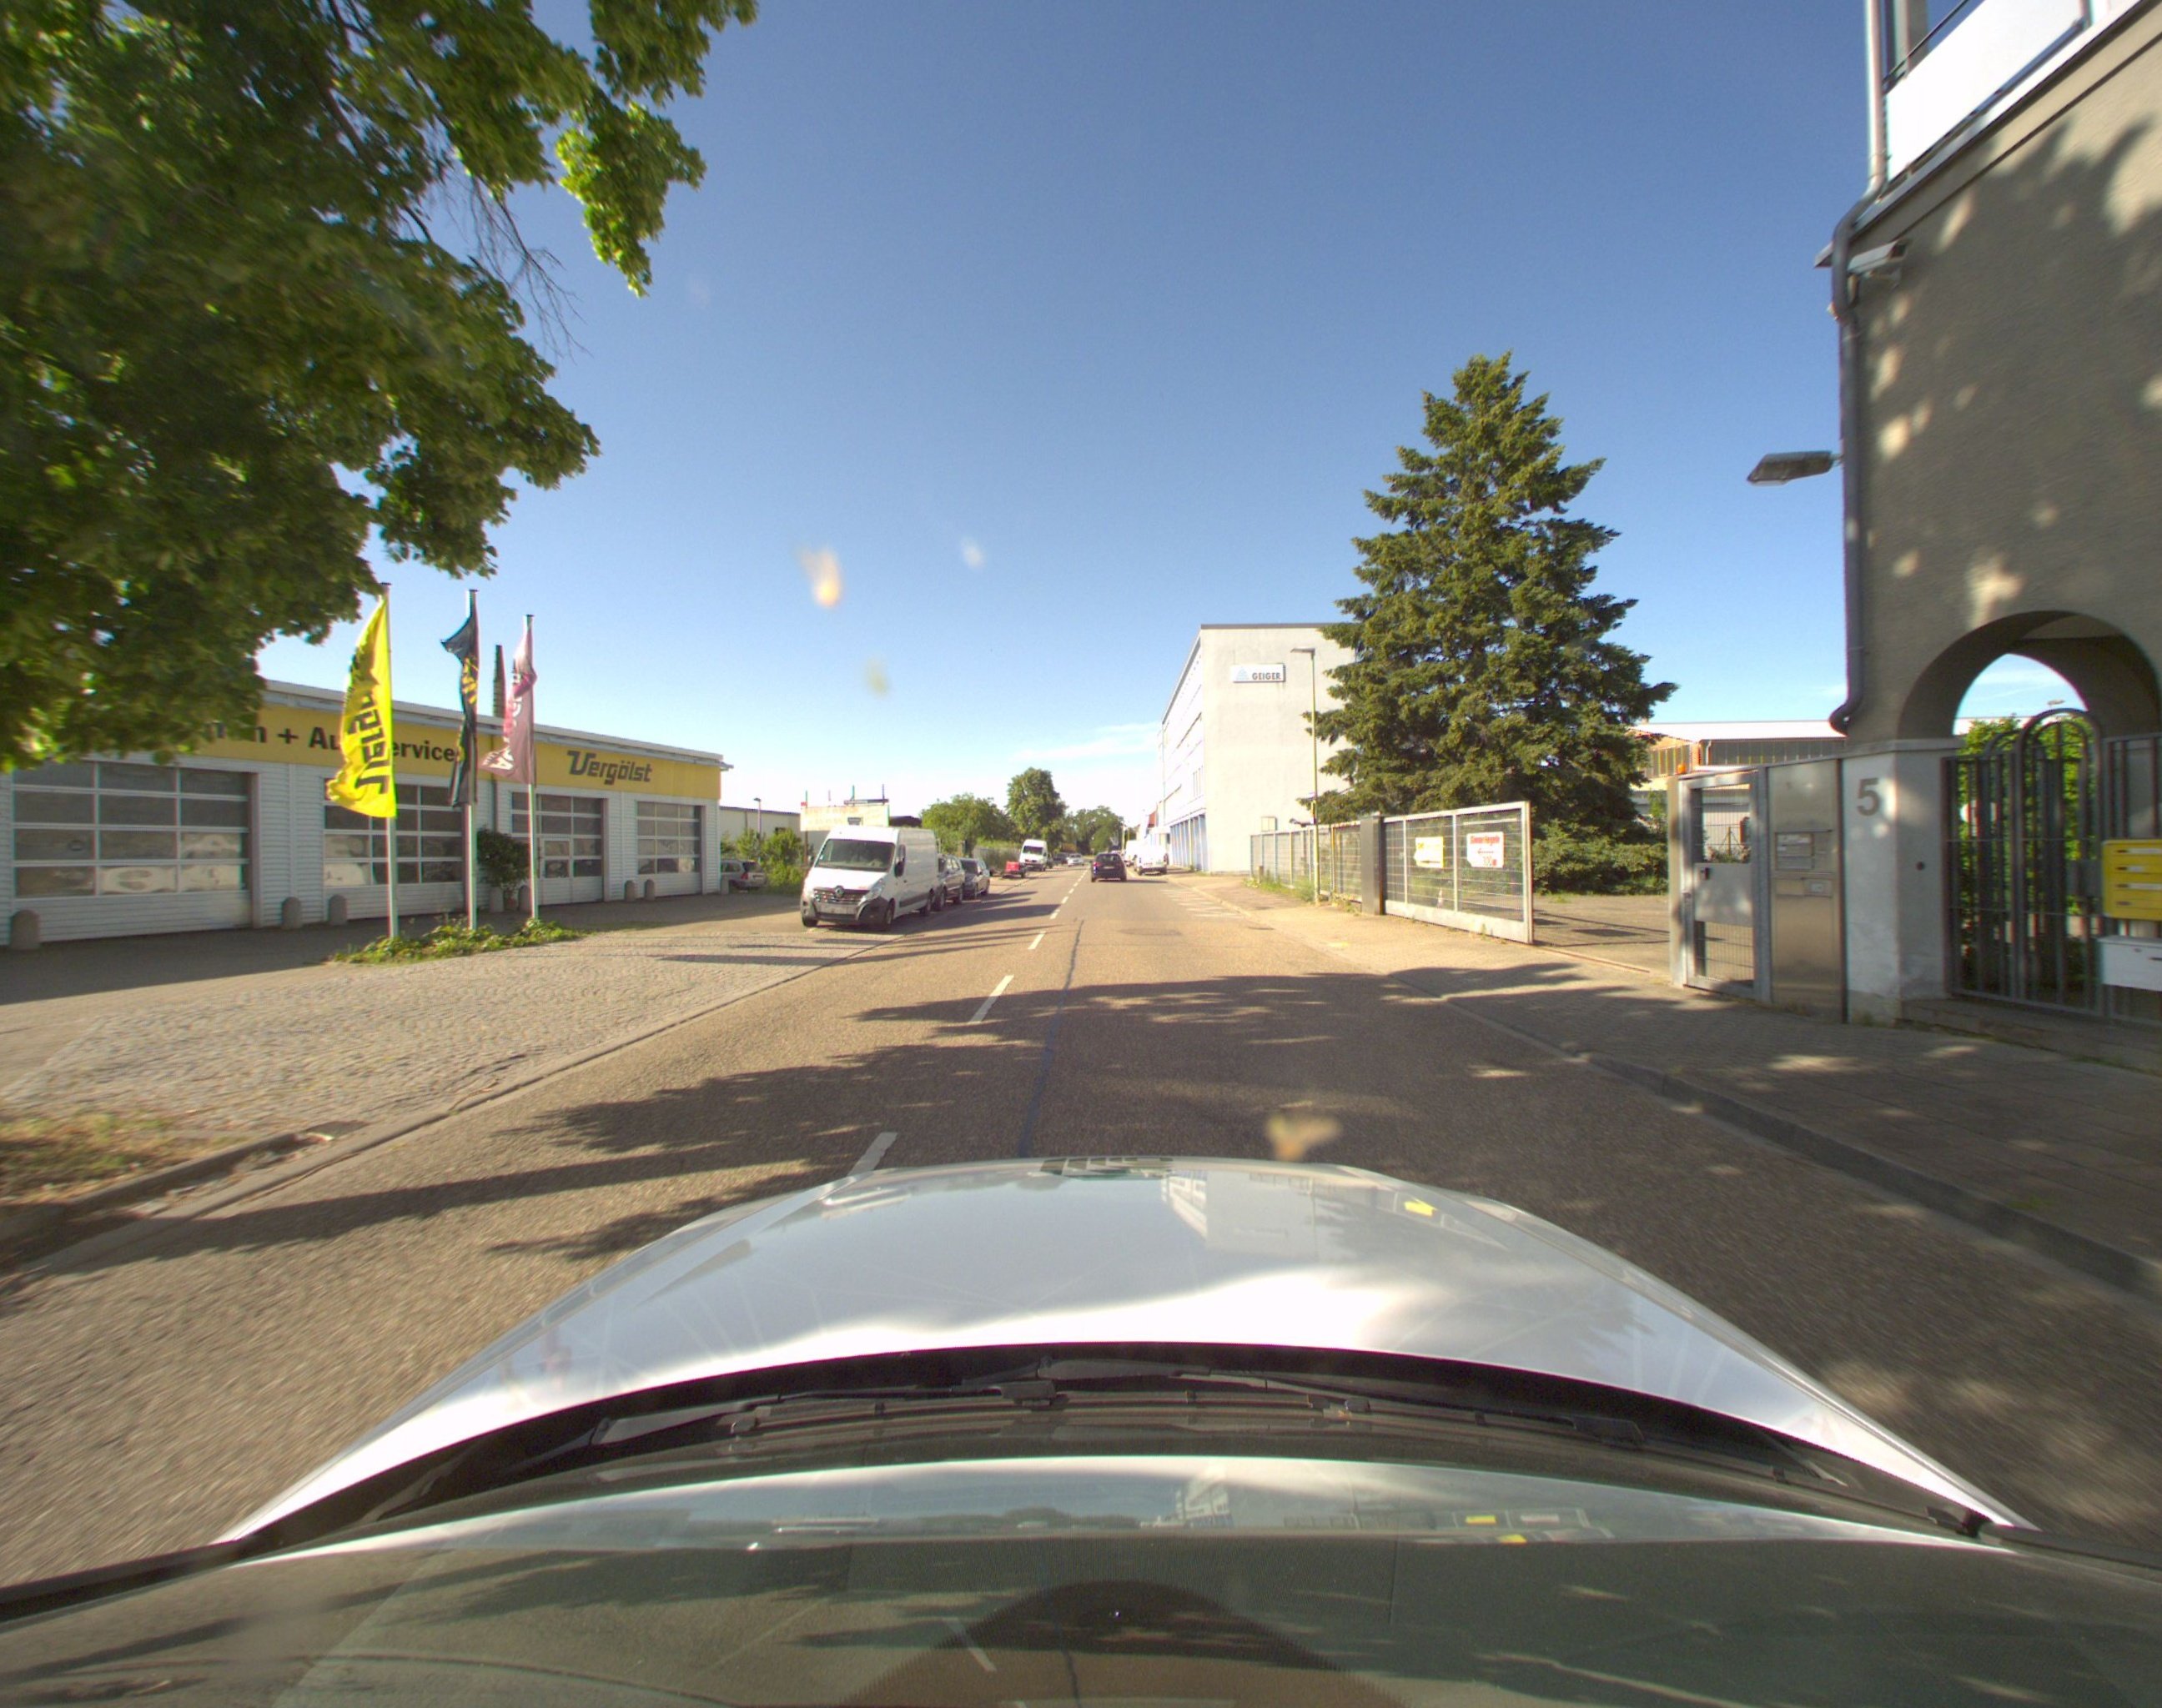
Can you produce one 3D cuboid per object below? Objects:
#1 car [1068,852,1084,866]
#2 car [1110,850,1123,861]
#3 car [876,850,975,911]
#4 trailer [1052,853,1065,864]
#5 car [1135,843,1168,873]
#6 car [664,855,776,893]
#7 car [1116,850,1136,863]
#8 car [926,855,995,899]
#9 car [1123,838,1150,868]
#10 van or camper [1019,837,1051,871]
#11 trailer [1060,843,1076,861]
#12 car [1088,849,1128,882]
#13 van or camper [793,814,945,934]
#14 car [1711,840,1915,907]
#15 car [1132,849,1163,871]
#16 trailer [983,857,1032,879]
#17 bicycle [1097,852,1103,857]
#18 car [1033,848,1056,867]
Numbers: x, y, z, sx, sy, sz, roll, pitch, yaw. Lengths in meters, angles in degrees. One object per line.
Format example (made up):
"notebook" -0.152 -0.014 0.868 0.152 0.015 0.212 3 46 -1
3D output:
"car" -0.521 0.554 93.682 1.741 1.447 4.361 -1 0 1
"car" 5.884 0.202 134.477 1.880 1.797 5.103 0 0 0
"car" -4.977 0.779 26.736 1.985 1.738 4.580 2 0 4
"trailer" -2.912 0.563 104.455 1.471 1.354 3.079 0 0 1
"car" 4.523 0.260 52.719 1.882 1.832 5.093 -1 0 2
"car" -16.095 0.887 36.390 4.131 1.574 1.922 -1 0 11
"car" 4.956 0.321 90.126 1.888 1.405 5.124 0 0 1
"car" -4.625 0.835 32.016 1.793 1.510 5.004 2 0 2
"car" 5.295 -0.147 78.425 1.987 2.597 6.050 -3 1 0
"van or camper" -3.867 -0.018 69.971 1.958 2.685 5.952 4 0 3
"trailer" -2.628 -0.355 163.546 2.982 3.443 8.159 -1 0 0
"car" 1.363 0.548 41.287 1.840 1.530 4.002 -2 0 2
"van or camper" -5.212 0.411 21.186 2.063 2.549 6.405 3 0 1
"car" 19.029 0.446 21.492 1.854 1.564 4.303 -1 0 6
"car" 4.905 0.419 60.428 1.883 1.560 5.090 -1 0 0
"trailer" -4.538 0.843 51.337 2.368 1.080 6.246 2 1 1
"bicycle" 4.797 0.024 204.084 0.805 1.268 2.245 1 -1 -18
"car" -3.716 0.335 83.230 2.024 1.694 5.105 3 0 0
